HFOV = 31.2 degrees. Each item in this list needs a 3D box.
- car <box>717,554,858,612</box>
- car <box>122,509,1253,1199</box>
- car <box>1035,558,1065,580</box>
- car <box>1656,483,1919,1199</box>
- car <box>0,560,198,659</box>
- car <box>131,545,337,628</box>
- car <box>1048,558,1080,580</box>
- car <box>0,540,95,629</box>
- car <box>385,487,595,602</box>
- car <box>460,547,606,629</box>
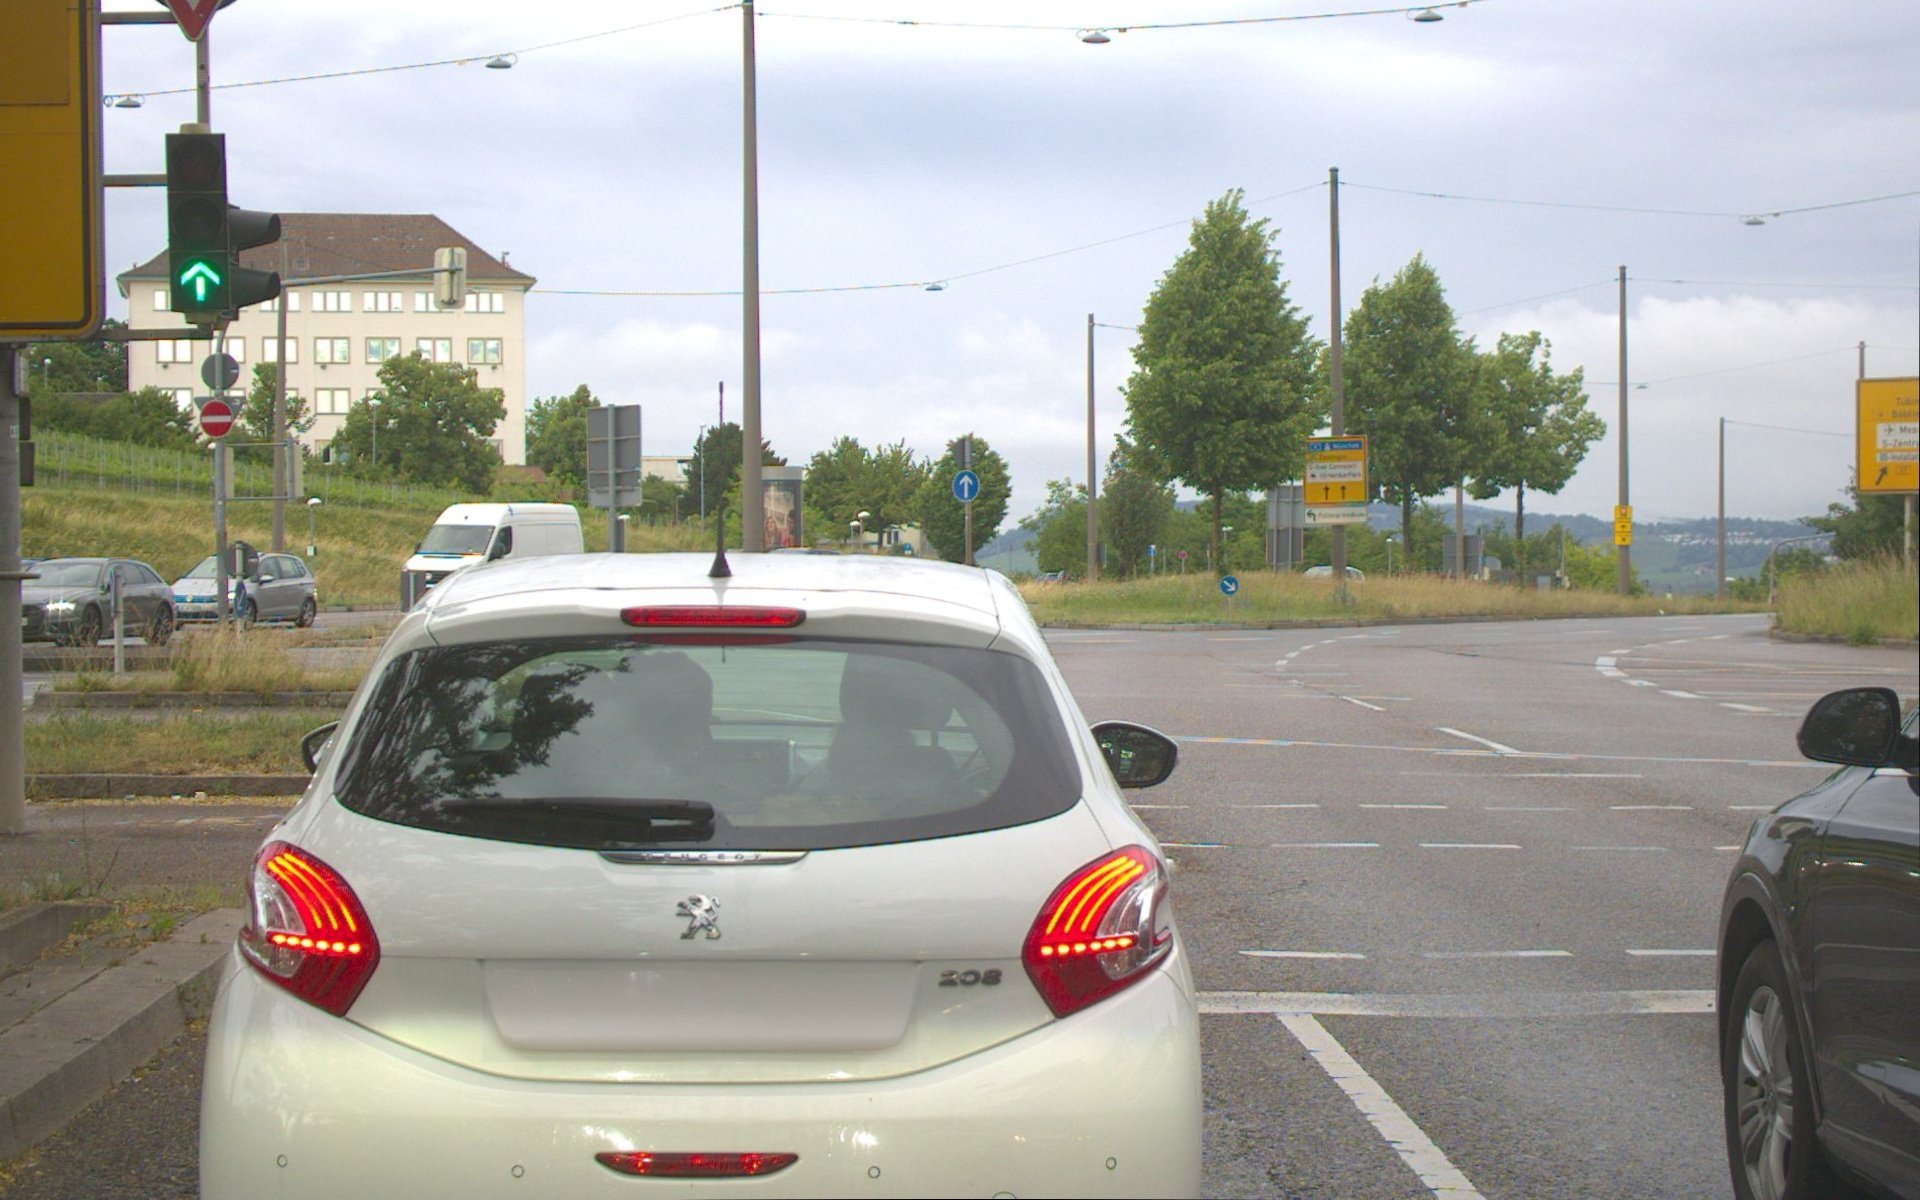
[{"bbox_3d":[-4.720,-0.450,94.839,1.996,1.507,4.225,2,0,27],"label":"car"},{"bbox_3d":[-0.471,0.592,7.261,1.717,1.484,4.000,1,1,-2],"label":"car"},{"bbox_3d":[6.388,-2.222,245.027,1.841,1.481,4.001,0,1,-3],"label":"car"},{"bbox_3d":[2.586,0.621,5.740,1.884,1.590,4.114,2,0,-1],"label":"car"},{"bbox_3d":[-14.156,0.132,54.978,1.902,1.484,4.889,1,0,13],"label":"car"},{"bbox_3d":[-14.576,-0.255,69.238,1.996,1.570,4.190,2,0,22],"label":"car"},{"bbox_3d":[7.149,-2.134,236.649,1.841,1.481,4.001,0,1,-3],"label":"car"},{"bbox_3d":[-16.807,-0.270,59.048,1.825,1.467,4.666,0,2,13],"label":"car"},{"bbox_3d":[-10.984,-1.257,80.906,1.996,2.550,6.162,2,0,22],"label":"car"},{"bbox_3d":[-7.660,-0.222,62.002,1.776,1.420,4.373,-1,0,4],"label":"car"}]
